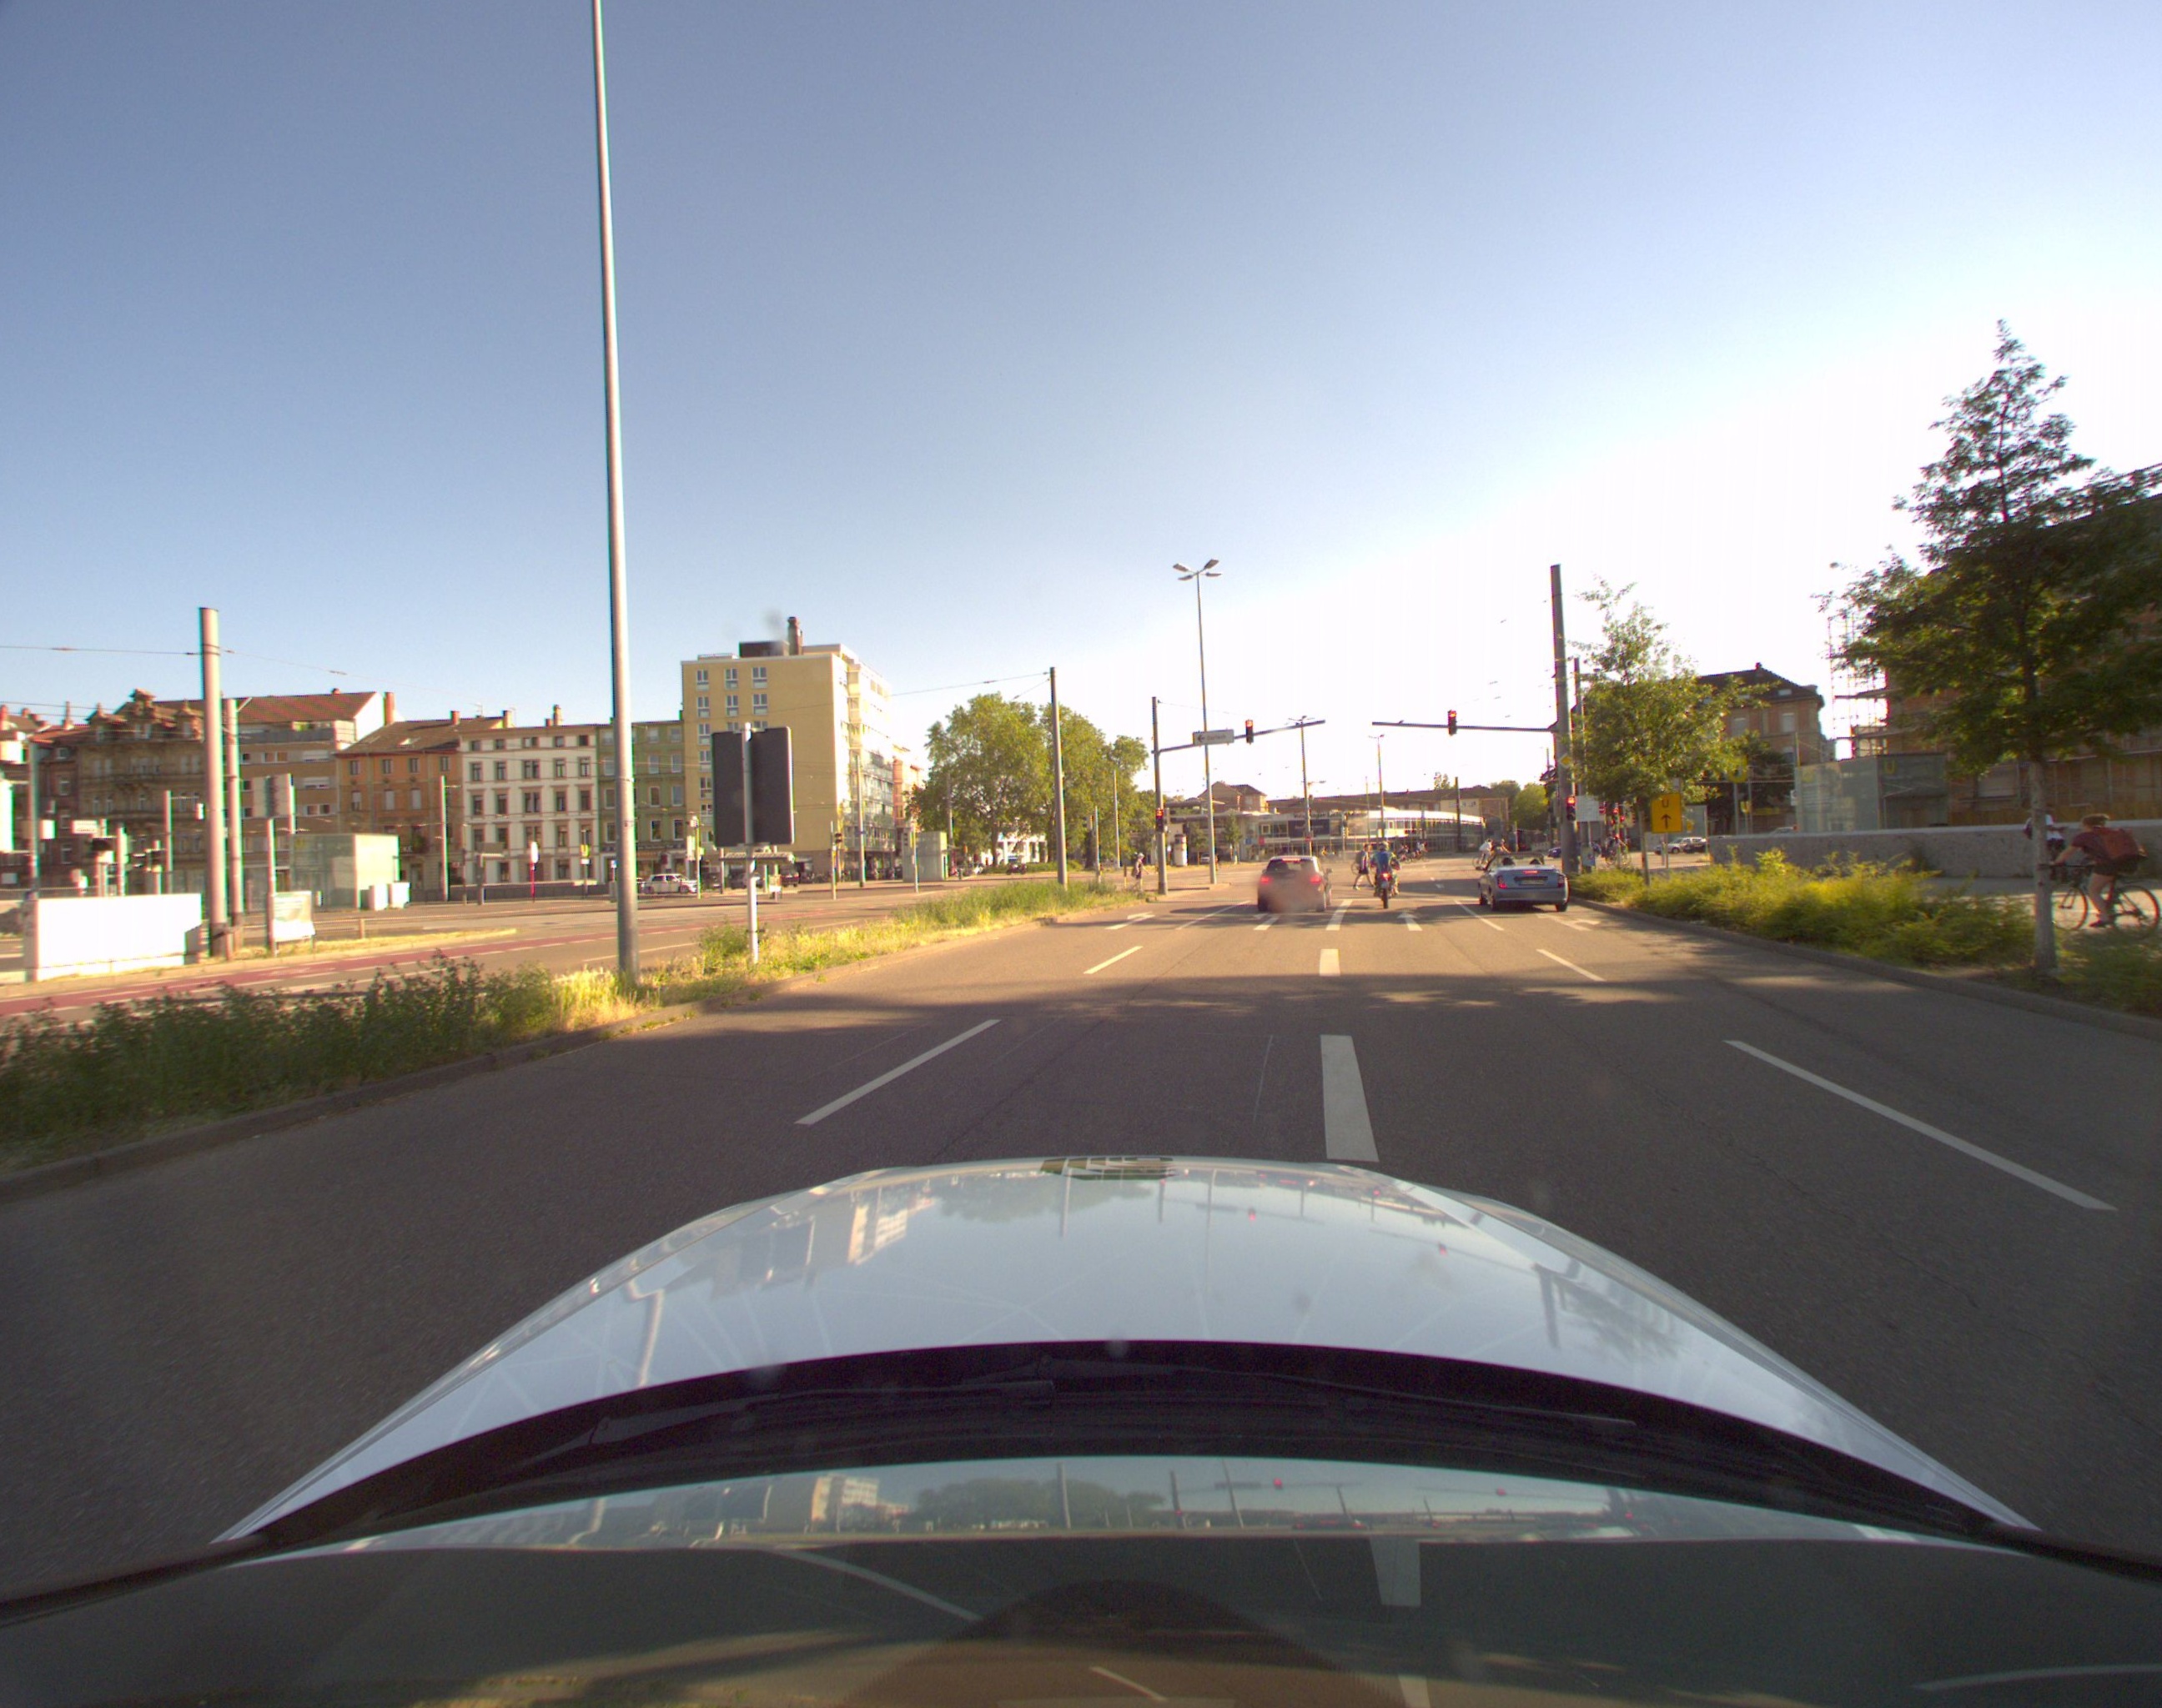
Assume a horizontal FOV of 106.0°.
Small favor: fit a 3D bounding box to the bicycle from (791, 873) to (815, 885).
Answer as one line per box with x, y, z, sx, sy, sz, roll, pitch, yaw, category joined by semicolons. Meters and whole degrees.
-27.301;2.446;80.085;2.035;1.090;0.777;-2;-1;1;bicycle

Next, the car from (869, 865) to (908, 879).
-22.031;2.000;93.188;3.977;1.422;1.811;-2;-1;-2;car

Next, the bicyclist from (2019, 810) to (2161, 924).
13.074;0.175;10.507;0.715;1.384;1.078;-1;-2;9;bicyclist

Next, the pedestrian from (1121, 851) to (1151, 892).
2.278;0.721;33.634;1.086;1.606;0.701;-2;1;10;pedestrian

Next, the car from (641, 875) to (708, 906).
-29.374;2.607;58.969;3.721;2.013;2.001;-2;1;1;car

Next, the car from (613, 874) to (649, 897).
-40.083;2.769;72.482;2.097;1.719;3.964;-3;2;-39;car

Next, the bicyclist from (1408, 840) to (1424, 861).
32.222;-0.341;78.446;1.066;1.900;1.123;-2;1;2;bicyclist

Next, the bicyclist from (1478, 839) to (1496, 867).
25.068;-0.087;50.303;0.646;1.690;0.861;-2;1;3;bicyclist

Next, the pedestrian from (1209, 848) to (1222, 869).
12.557;0.413;75.957;0.981;1.816;0.924;-2;1;19;pedestrian

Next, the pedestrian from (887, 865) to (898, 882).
-19.205;1.943;82.999;0.772;1.676;0.783;-2;-1;3;pedestrian

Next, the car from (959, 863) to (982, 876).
-12.791;1.795;94.614;1.838;1.452;4.005;-2;0;5;car

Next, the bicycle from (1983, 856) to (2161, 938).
13.073;0.518;10.458;0.715;0.952;2.255;-1;-1;9;bicycle

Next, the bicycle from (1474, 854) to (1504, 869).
28.572;0.514;56.987;2.313;0.905;0.851;-3;2;-35;bicycle

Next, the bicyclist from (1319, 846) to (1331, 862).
23.353;-0.001;77.961;0.920;1.559;0.860;-2;1;0;bicyclist

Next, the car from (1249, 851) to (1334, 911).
5.751;0.656;21.945;1.785;1.444;3.998;-1;0;20;car

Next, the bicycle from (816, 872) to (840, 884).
-25.153;2.350;80.918;2.035;1.090;0.777;-2;-1;1;bicycle

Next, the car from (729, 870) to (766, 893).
-29.474;2.406;71.909;1.850;1.748;3.953;-3;2;-41;car

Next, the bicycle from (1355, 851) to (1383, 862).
26.724;0.230;75.610;2.293;0.959;0.858;-3;1;-7;bicycle

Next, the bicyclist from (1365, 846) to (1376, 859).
26.876;-0.172;75.615;0.712;1.143;0.836;-2;1;-6;bicyclist

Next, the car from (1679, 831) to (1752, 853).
50.050;-0.926;64.316;4.059;1.486;1.961;-2;-1;14;car

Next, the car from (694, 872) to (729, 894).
-32.700;2.530;71.973;1.849;1.719;3.954;-3;2;-39;car

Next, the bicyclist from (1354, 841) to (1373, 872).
15.827;0.113;45.676;0.743;1.690;0.860;-2;1;-1;bicyclist

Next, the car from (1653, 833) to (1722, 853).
50.169;-0.916;67.443;4.065;1.452;1.961;-2;-1;14;car

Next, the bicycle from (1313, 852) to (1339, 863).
23.458;0.332;77.999;2.288;0.979;0.860;-2;1;0;bicycle

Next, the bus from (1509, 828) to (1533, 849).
68.765;-2.483;127.183;2.331;2.883;9.641;-1;2;35;bus

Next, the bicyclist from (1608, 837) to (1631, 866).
31.466;-0.153;47.606;0.651;1.690;0.855;-2;1;-16;bicyclist

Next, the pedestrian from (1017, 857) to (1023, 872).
-8.762;1.514;117.207;0.583;2.014;0.714;-3;-1;20;pedestrian

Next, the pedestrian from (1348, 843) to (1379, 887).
10.983;0.436;31.710;0.829;1.671;0.694;-2;-1;-19;pedestrian

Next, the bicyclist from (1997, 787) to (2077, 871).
21.434;-0.542;18.283;0.779;1.786;0.899;-5;-2;28;bicyclist

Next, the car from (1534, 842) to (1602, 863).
41.336;-0.108;69.194;4.565;1.594;1.962;-2;-1;17;car

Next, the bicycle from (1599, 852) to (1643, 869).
31.568;0.368;47.625;2.301;0.905;0.855;-2;1;-17;bicycle

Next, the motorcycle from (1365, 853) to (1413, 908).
8.172;0.670;21.557;1.086;1.377;2.667;-2;-1;22;motorcycle

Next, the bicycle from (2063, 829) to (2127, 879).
22.461;-0.013;18.066;1.974;1.039;0.620;-2;-3;-45;bicycle

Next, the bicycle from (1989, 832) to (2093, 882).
21.501;0.068;18.305;0.782;1.039;1.975;-5;-2;28;bicycle

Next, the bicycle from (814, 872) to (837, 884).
-25.127;2.372;80.068;2.035;1.090;0.777;-2;-1;1;bicycle

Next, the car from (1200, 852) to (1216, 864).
19.311;0.600;124.025;1.979;1.534;4.017;-2;2;15;car

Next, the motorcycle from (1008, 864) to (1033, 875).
-5.889;1.520;79.481;2.272;1.054;0.689;-2;1;7;motorcycle

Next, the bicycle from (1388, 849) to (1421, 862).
27.475;0.163;69.199;2.426;1.003;0.964;-2;-1;5;bicycle

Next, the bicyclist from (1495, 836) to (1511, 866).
24.005;-0.182;46.298;0.644;1.690;0.864;-2;1;19;bicyclist

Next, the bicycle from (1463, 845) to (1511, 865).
25.073;0.063;50.297;2.483;1.133;0.861;-2;1;2;bicycle

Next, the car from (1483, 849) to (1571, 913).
11.283;0.612;20.751;1.784;1.444;4.002;-1;0;27;car

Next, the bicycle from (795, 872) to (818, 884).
-27.268;2.418;80.957;2.035;1.090;0.777;-2;-1;1;bicycle

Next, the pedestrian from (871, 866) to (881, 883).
-20.967;2.059;83.294;0.772;1.676;0.783;-2;-1;3;pedestrian

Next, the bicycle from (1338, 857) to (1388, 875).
15.816;0.686;45.684;2.486;0.874;0.860;-2;1;-1;bicycle

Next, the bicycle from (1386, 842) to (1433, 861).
31.615;-0.238;78.427;3.971;1.690;1.140;-2;1;2;bicycle

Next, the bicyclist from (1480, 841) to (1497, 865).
28.448;-0.071;56.892;0.654;1.690;0.851;-3;1;-35;bicyclist

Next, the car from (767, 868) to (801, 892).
-26.332;2.284;72.114;1.860;1.857;3.958;-3;2;-33;car

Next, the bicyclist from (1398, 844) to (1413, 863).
27.572;-0.077;69.189;0.919;1.559;0.964;-2;-1;5;bicyclist

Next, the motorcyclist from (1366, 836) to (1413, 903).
8.180;0.402;21.592;1.086;1.721;0.941;-2;-1;21;motorcyclist

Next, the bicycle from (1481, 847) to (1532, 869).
24.133;0.218;46.257;2.472;1.133;0.864;-1;1;20;bicycle
